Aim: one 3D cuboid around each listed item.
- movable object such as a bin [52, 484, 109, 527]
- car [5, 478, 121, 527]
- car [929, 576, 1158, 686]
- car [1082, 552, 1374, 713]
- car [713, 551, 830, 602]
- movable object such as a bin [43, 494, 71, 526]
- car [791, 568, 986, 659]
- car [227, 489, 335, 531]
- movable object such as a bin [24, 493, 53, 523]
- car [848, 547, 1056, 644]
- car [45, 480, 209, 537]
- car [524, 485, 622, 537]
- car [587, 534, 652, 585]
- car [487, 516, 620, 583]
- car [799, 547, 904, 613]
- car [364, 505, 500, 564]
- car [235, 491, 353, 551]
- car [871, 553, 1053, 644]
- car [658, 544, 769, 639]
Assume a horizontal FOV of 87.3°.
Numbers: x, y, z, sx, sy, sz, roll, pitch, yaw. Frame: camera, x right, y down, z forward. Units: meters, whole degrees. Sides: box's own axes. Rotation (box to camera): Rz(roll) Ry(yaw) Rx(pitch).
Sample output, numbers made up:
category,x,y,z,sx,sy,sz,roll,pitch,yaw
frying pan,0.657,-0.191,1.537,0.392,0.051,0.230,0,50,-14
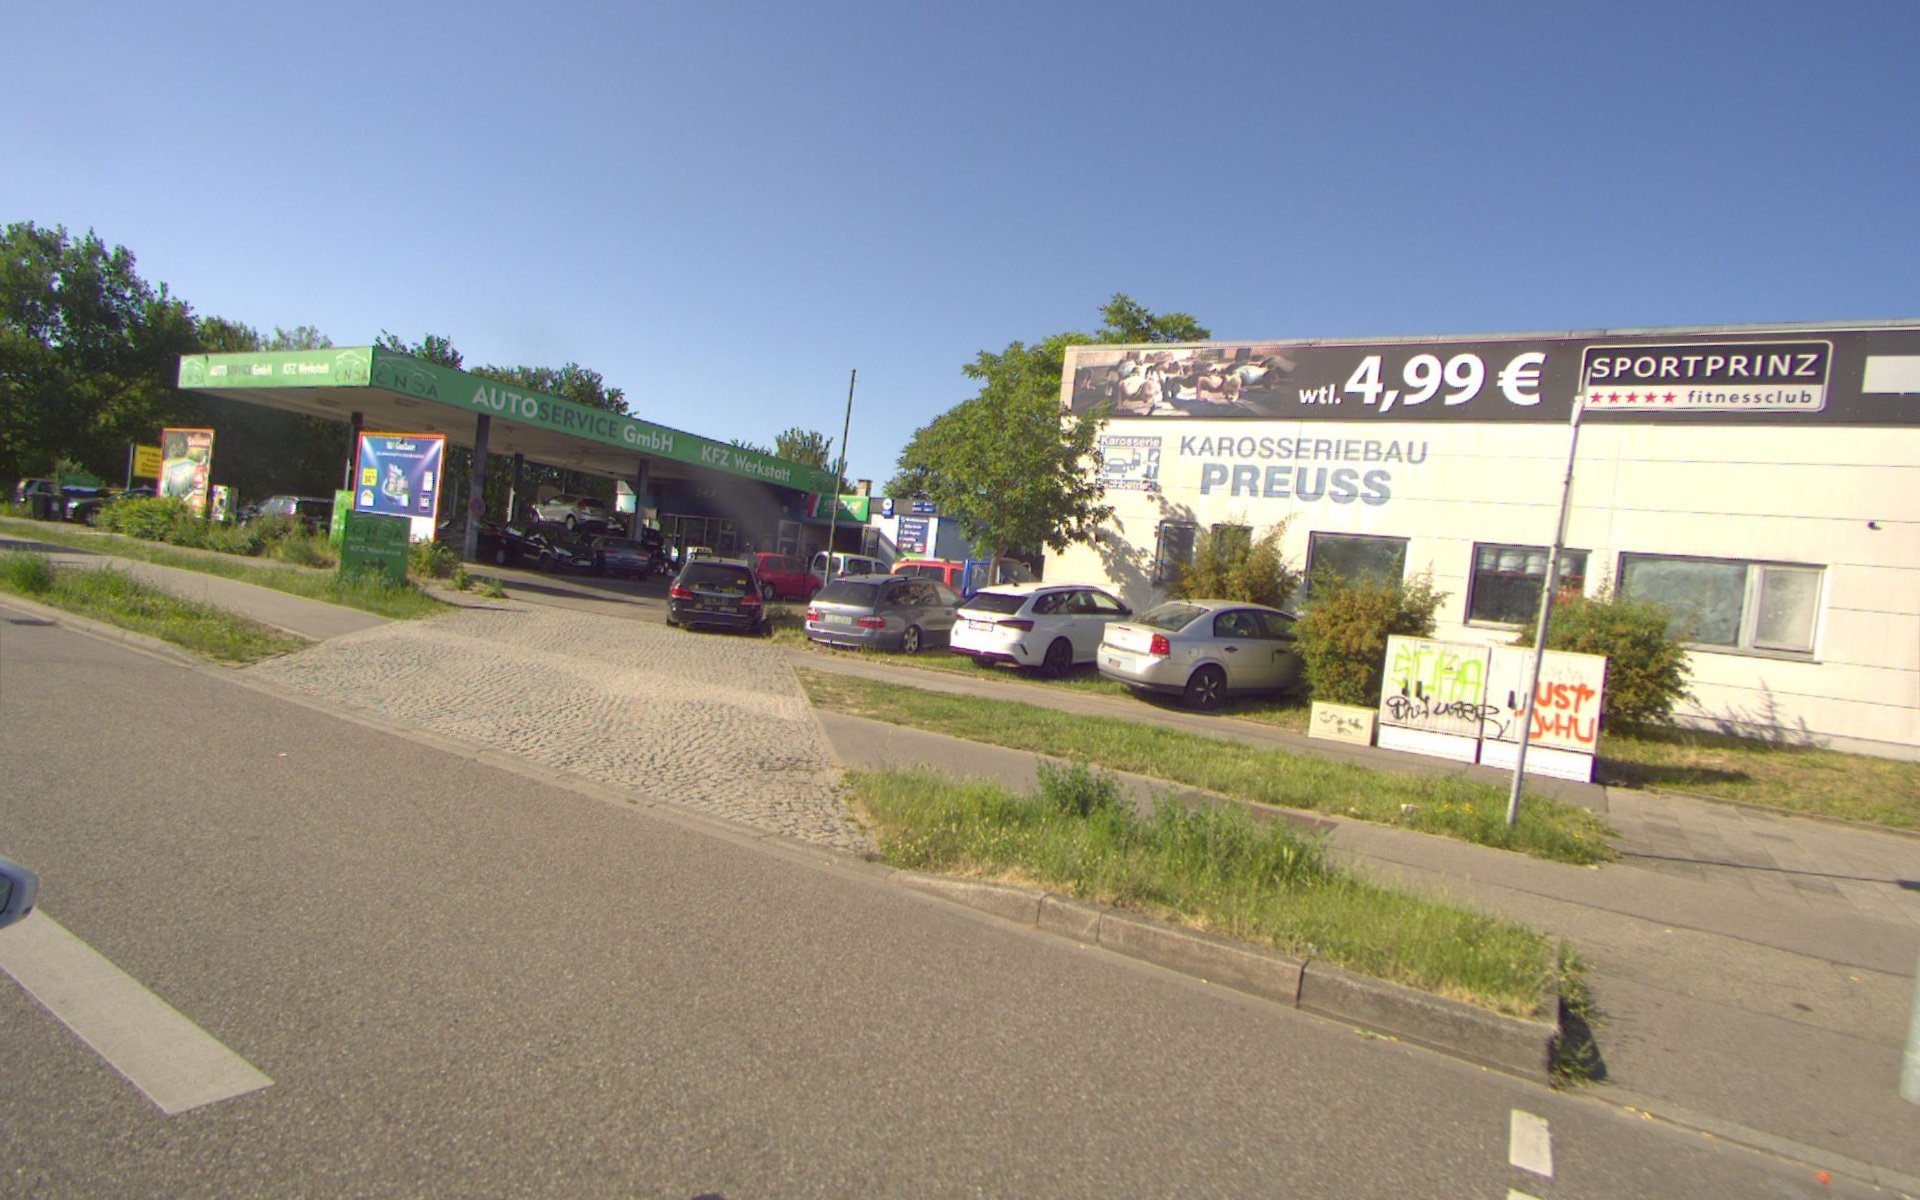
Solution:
category,x,y,z,sx,sy,sz,roll,pitch,yaw
movable object such as a bin,-34.466,-3.680,39.455,1.240,1.446,0.987,7,0,-11
car,-38.663,-4.191,43.429,1.743,1.503,3.289,7,-2,33
car,1.496,0.423,17.129,3.897,1.474,1.703,-3,8,-44
car,3.991,0.399,14.970,3.944,2.045,1.673,0,7,-26
car,-6.271,-0.810,33.784,1.818,1.570,3.760,4,4,31
movable object such as a bin,-35.370,-3.534,39.407,0.501,1.135,0.581,7,1,-10
car,-1.246,0.171,18.795,1.811,1.310,3.598,6,6,33
car,-33.269,-4.398,49.385,1.706,1.551,4.036,7,2,33
movable object such as a bin,-35.888,-3.580,39.183,0.501,1.088,0.581,7,1,-10
car,-0.232,-0.151,23.368,4.518,1.808,1.682,6,3,30
car,-31.818,-3.458,38.594,4.505,1.662,1.787,4,2,-29
car,-16.307,-3.762,42.354,3.716,1.777,1.919,6,1,33
car,-11.841,-1.420,34.853,1.671,1.438,3.681,8,0,-24
car,-13.363,-1.668,33.042,3.934,1.667,1.997,6,-1,32
car,-4.008,-0.711,37.623,1.892,1.929,3.697,7,-2,31
car,-19.871,-2.440,38.001,3.929,1.503,1.999,7,-1,-5
car,-22.843,-2.714,34.454,4.179,1.593,1.746,7,1,33
car,0.032,-0.081,25.717,4.145,1.887,1.893,6,3,30
car,-5.064,-0.269,20.630,1.870,1.552,4.817,5,2,-15
